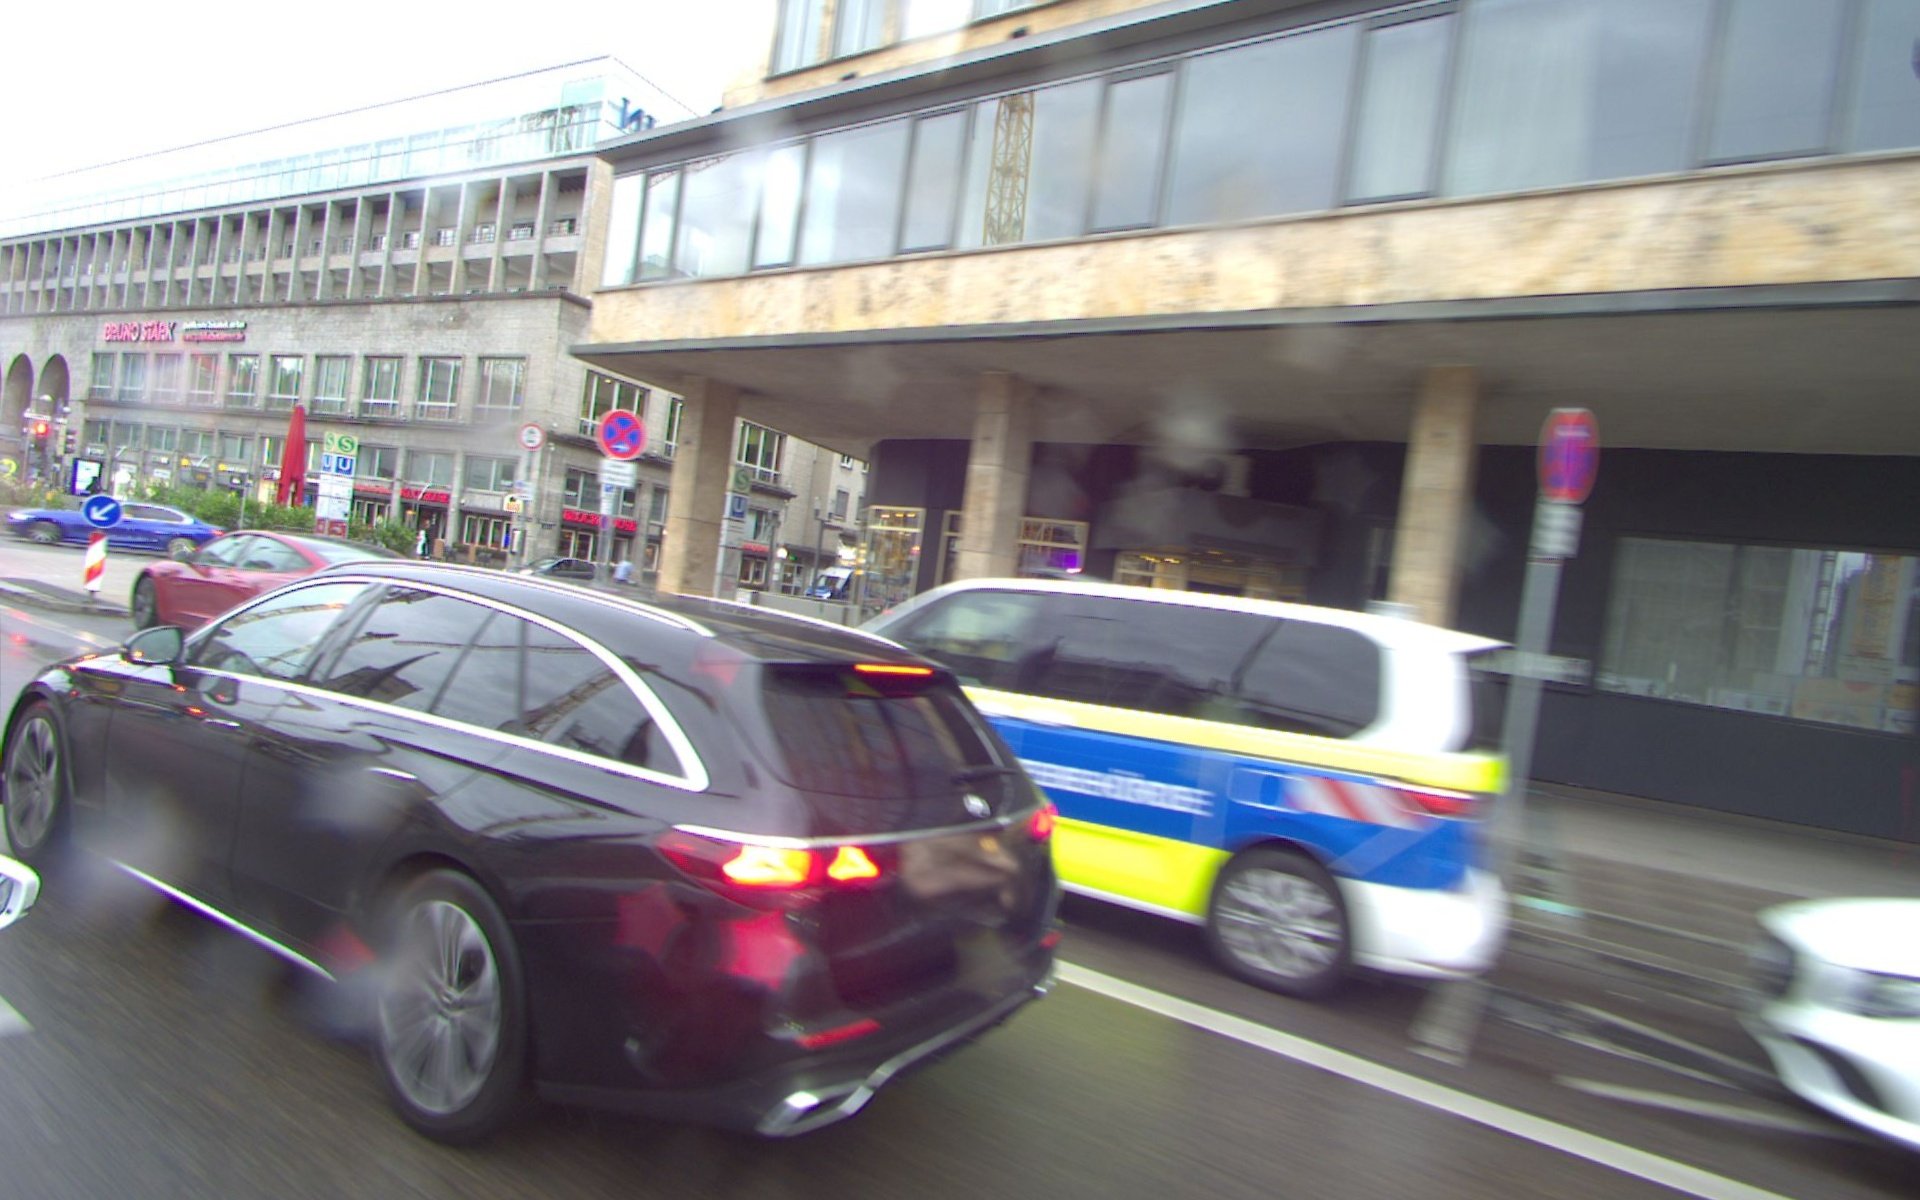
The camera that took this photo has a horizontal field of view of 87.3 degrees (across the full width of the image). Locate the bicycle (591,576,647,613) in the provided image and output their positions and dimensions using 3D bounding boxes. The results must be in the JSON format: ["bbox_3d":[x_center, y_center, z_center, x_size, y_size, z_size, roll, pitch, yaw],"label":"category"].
[{"bbox_3d":[-11.193,-0.162,33.138,0.581,1.021,2.217,7,-2,12],"label":"bicycle"}]

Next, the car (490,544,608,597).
[{"bbox_3d":[-15.610,-1.092,38.361,1.822,1.414,3.660,7,-2,34],"label":"car"}]

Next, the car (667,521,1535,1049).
[{"bbox_3d":[0.683,0.764,6.291,4.853,1.942,1.878,7,-1,31],"label":"car"}]

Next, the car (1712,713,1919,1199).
[{"bbox_3d":[5.550,1.556,3.036,4.928,1.656,1.878,7,-2,31],"label":"car"}]

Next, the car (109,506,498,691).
[{"bbox_3d":[-7.579,-0.051,11.510,4.451,1.503,1.878,7,-2,31],"label":"car"}]

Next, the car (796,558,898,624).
[{"bbox_3d":[-6.009,-0.421,54.629,1.966,2.793,6.182,7,-2,30],"label":"car"}]

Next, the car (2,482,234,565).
[{"bbox_3d":[-22.767,-2.033,27.403,4.619,1.414,1.739,9,-2,-41],"label":"car"}]

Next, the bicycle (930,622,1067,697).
[{"bbox_3d":[0.684,1.084,18.638,2.431,1.058,0.657,7,-1,32],"label":"bicycle"}]

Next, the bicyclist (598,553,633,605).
[{"bbox_3d":[-11.201,-0.680,32.689,0.601,1.558,0.719,7,-1,13],"label":"bicyclist"}]

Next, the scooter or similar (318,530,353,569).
[{"bbox_3d":[-21.493,-1.734,34.635,1.000,1.203,0.291,7,0,13],"label":"scooter or similar"}]

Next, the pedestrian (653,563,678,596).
[{"bbox_3d":[-14.656,-1.020,50.107,0.704,1.530,0.759,7,-1,27],"label":"pedestrian"}]

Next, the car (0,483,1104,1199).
[{"bbox_3d":[-1.967,0.552,3.968,4.551,1.519,1.797,7,-2,32],"label":"car"}]
